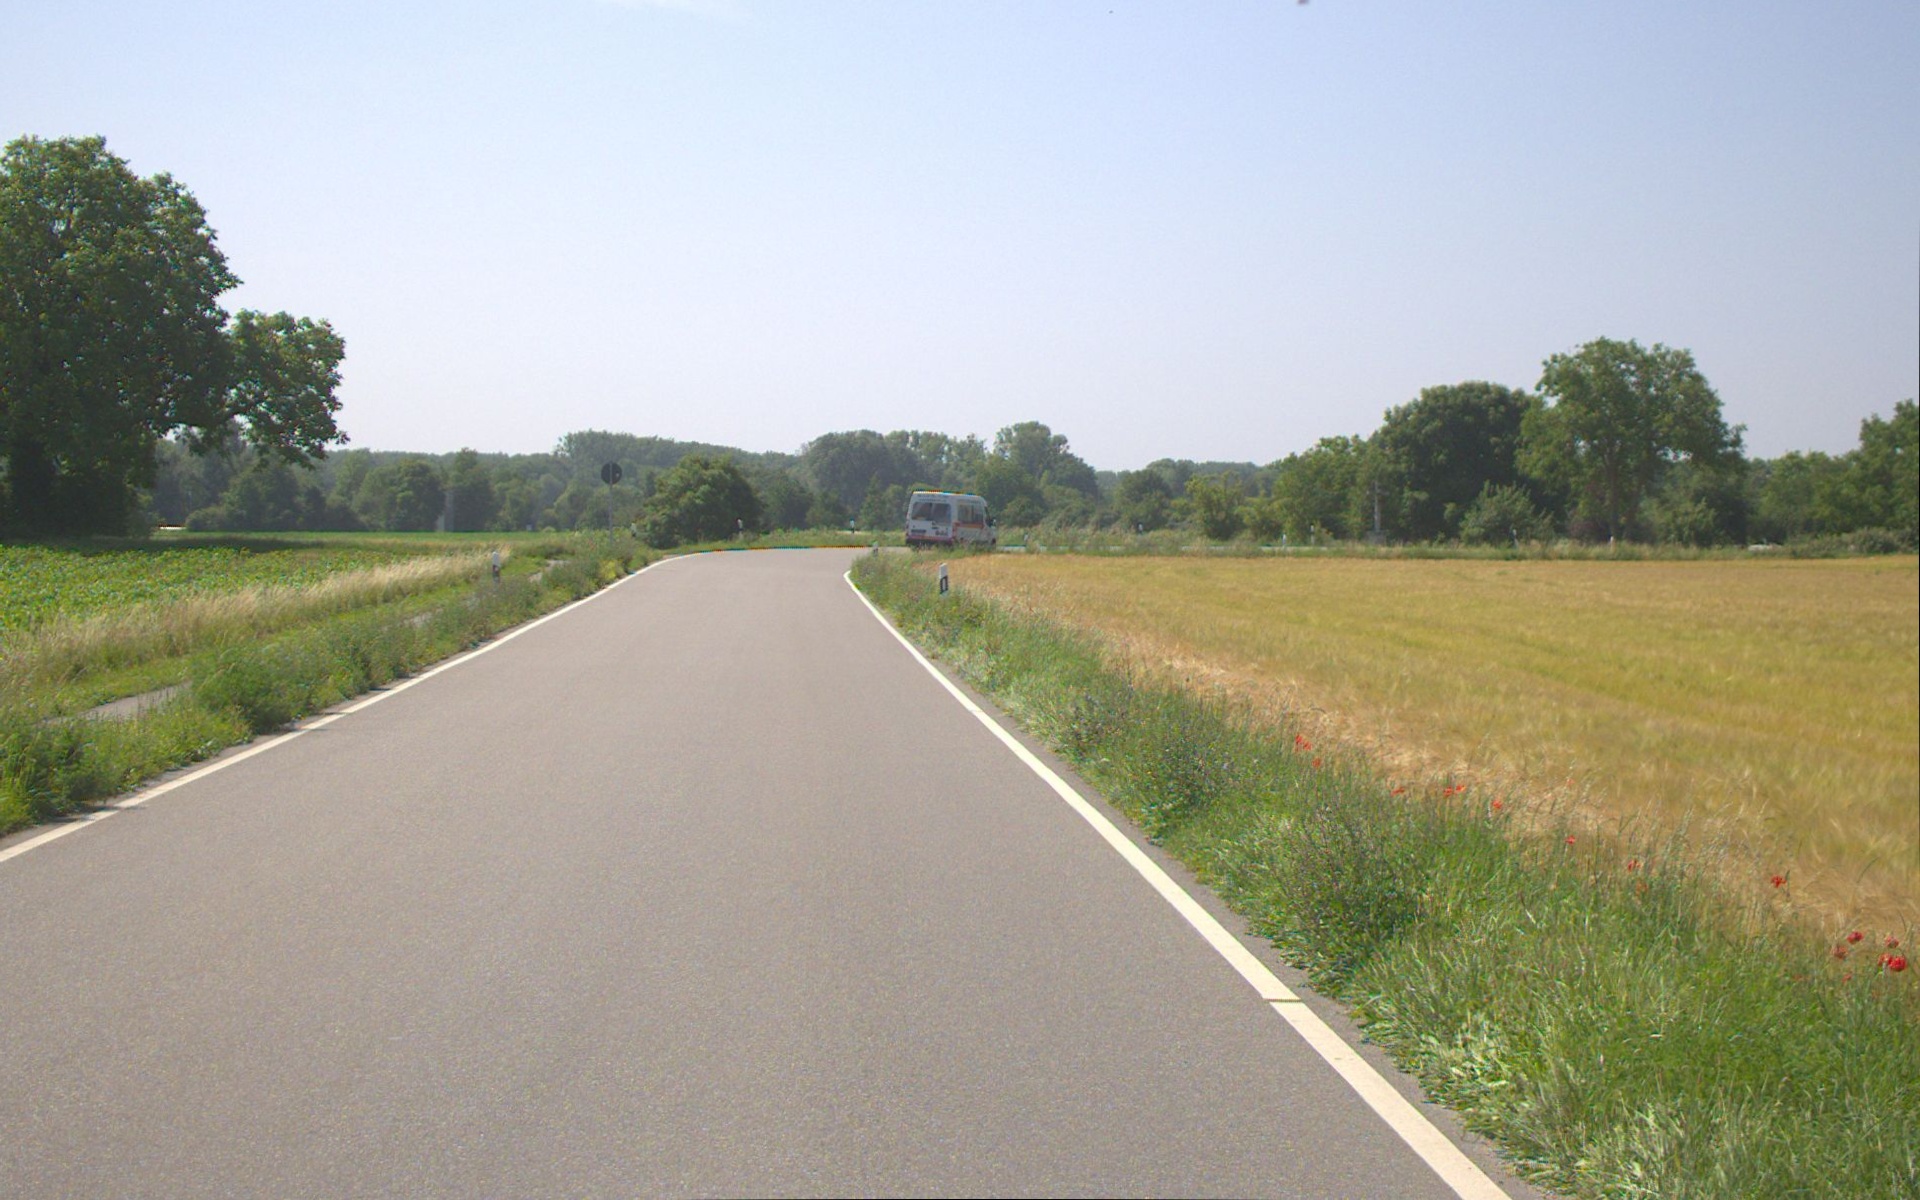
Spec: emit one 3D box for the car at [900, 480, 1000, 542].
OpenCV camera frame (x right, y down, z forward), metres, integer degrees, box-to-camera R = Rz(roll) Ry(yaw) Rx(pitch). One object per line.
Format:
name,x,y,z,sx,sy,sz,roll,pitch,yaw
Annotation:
car,-0.367,-3.452,133.647,2.106,2.359,5.681,1,2,19
